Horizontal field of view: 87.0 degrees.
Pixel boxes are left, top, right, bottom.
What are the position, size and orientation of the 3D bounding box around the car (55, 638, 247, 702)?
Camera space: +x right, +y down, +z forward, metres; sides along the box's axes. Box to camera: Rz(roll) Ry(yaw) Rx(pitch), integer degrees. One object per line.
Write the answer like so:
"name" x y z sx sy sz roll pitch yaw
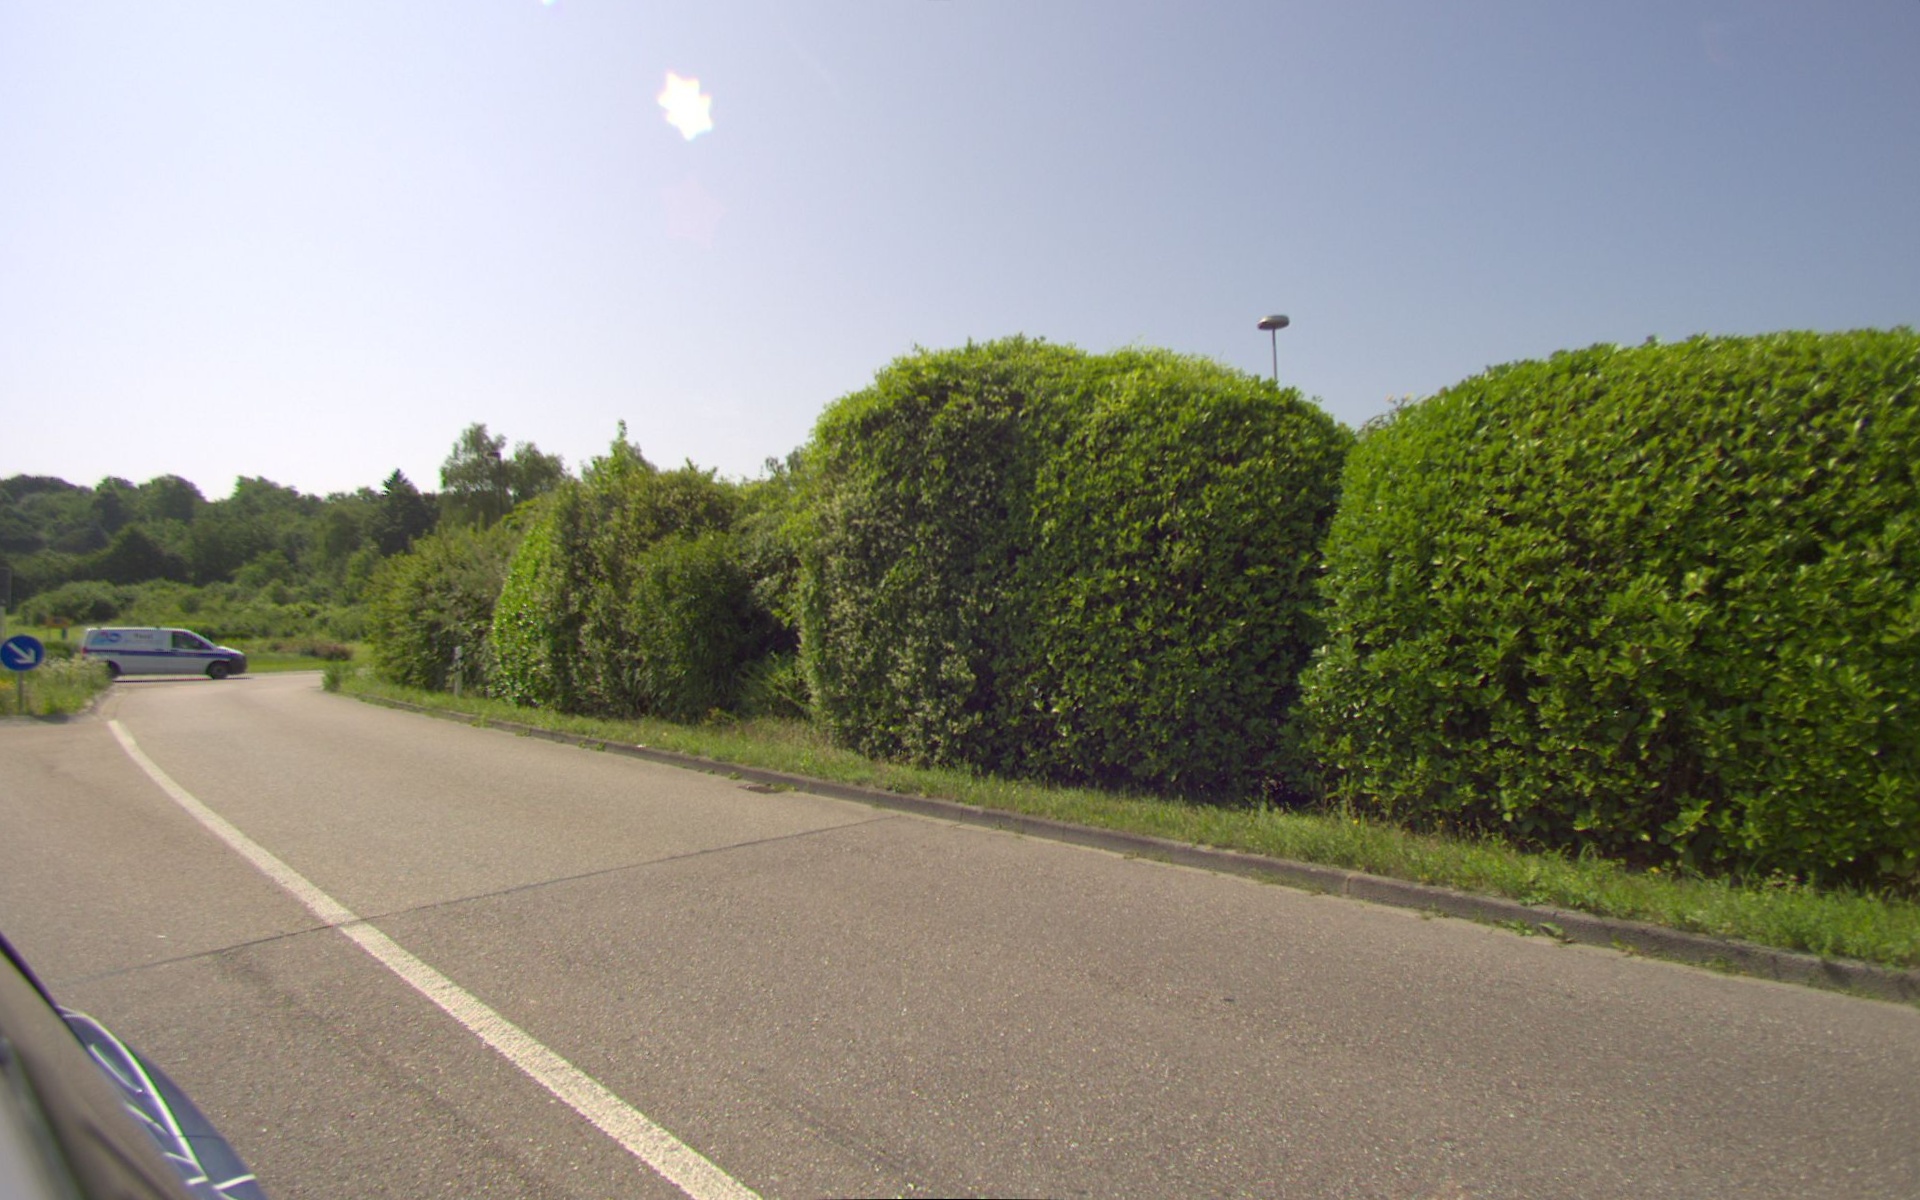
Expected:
"car" -29.024 2.469 36.555 5.141 1.952 1.866 -1 0 -30
